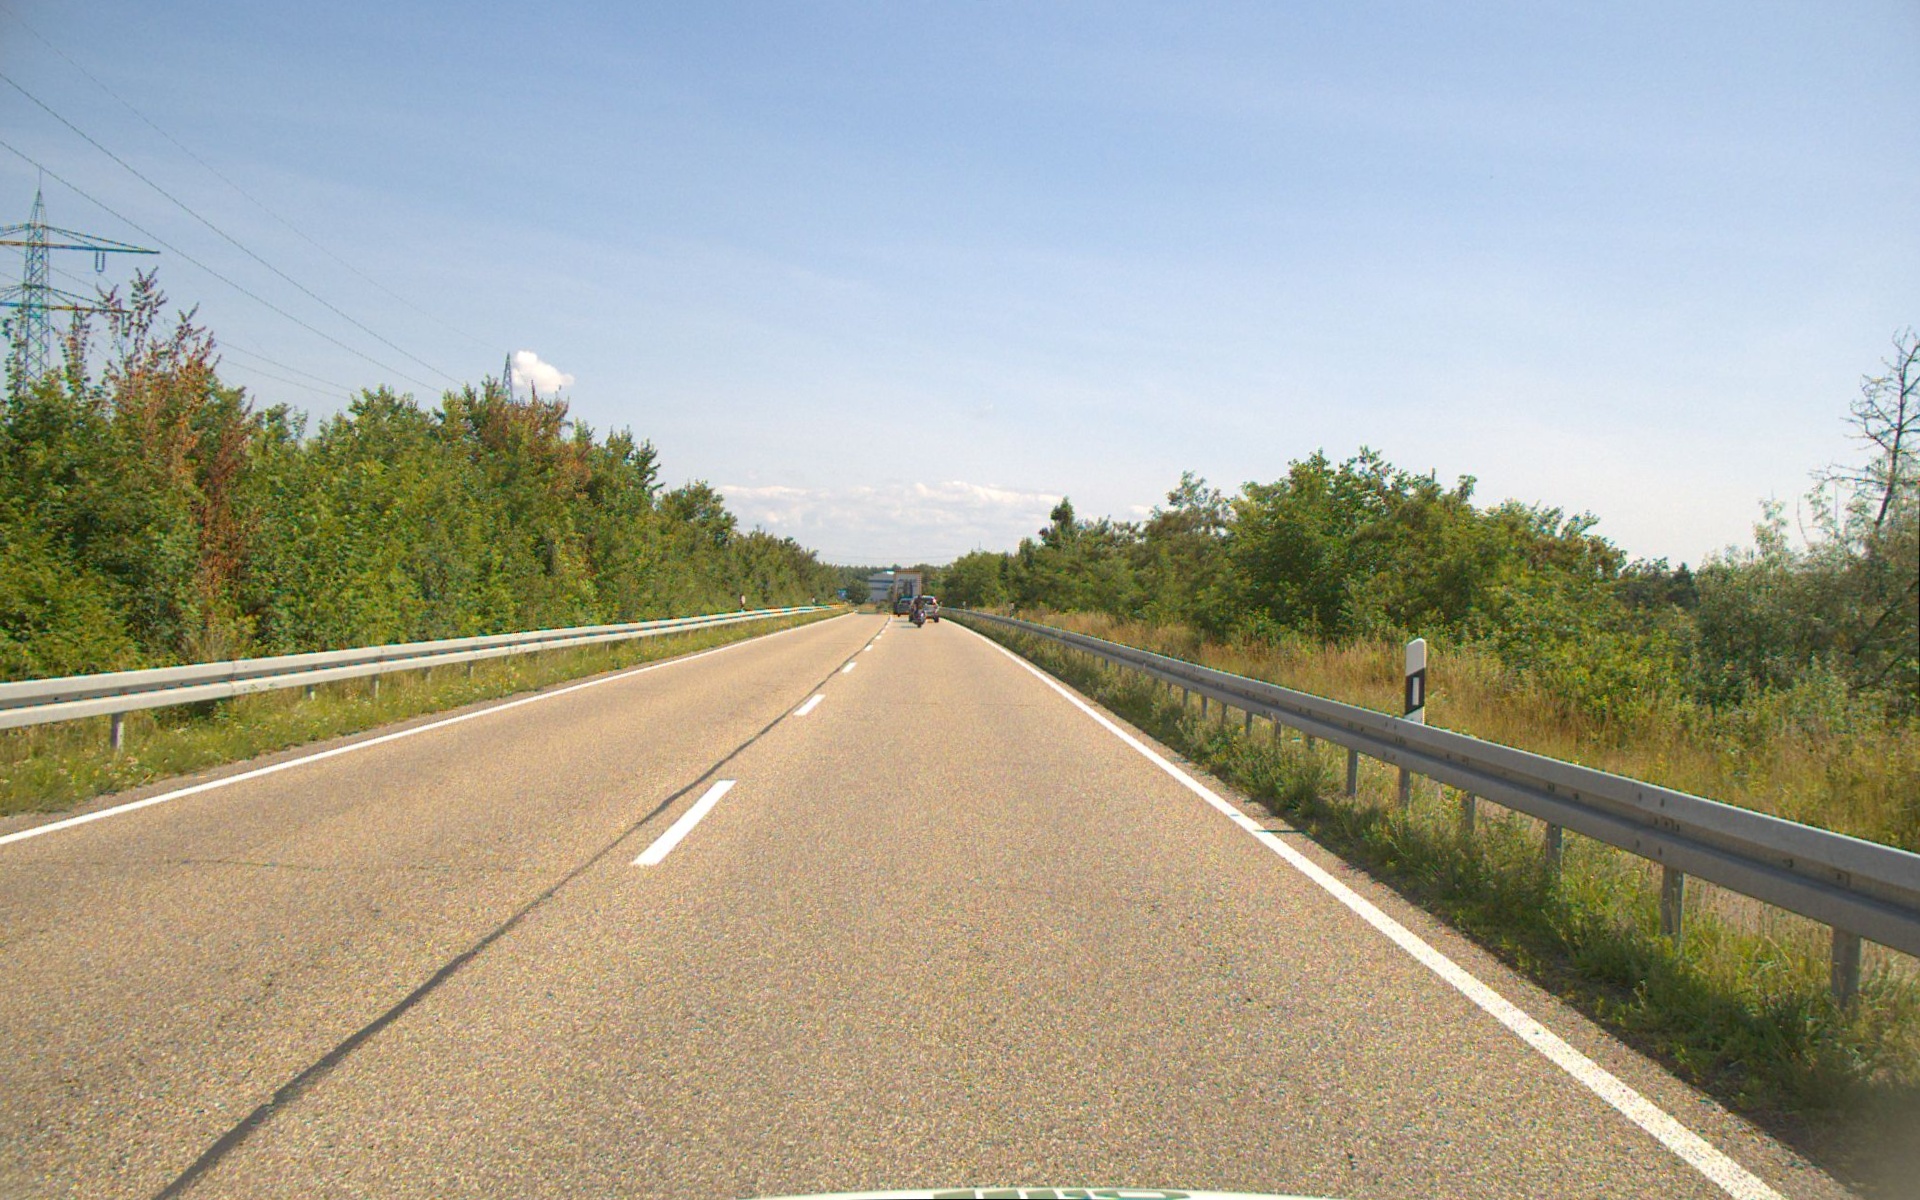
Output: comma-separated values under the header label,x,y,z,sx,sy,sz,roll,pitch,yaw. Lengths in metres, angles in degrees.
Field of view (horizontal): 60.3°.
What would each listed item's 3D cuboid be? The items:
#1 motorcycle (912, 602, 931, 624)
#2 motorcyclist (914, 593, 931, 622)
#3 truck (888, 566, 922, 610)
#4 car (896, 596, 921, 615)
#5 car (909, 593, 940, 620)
label,x,y,z,sx,sy,sz,roll,pitch,yaw
motorcycle,-1.854,0.640,80.225,0.764,0.992,2.362,1,1,2
motorcyclist,-1.839,0.369,80.240,0.764,1.348,0.813,1,1,1
truck,-5.371,-1.204,160.496,3.177,4.048,9.440,1,1,-2
car,-4.165,0.432,133.680,1.827,1.445,4.001,1,1,1
car,-2.200,0.382,100.661,1.789,1.476,3.999,1,1,-2
